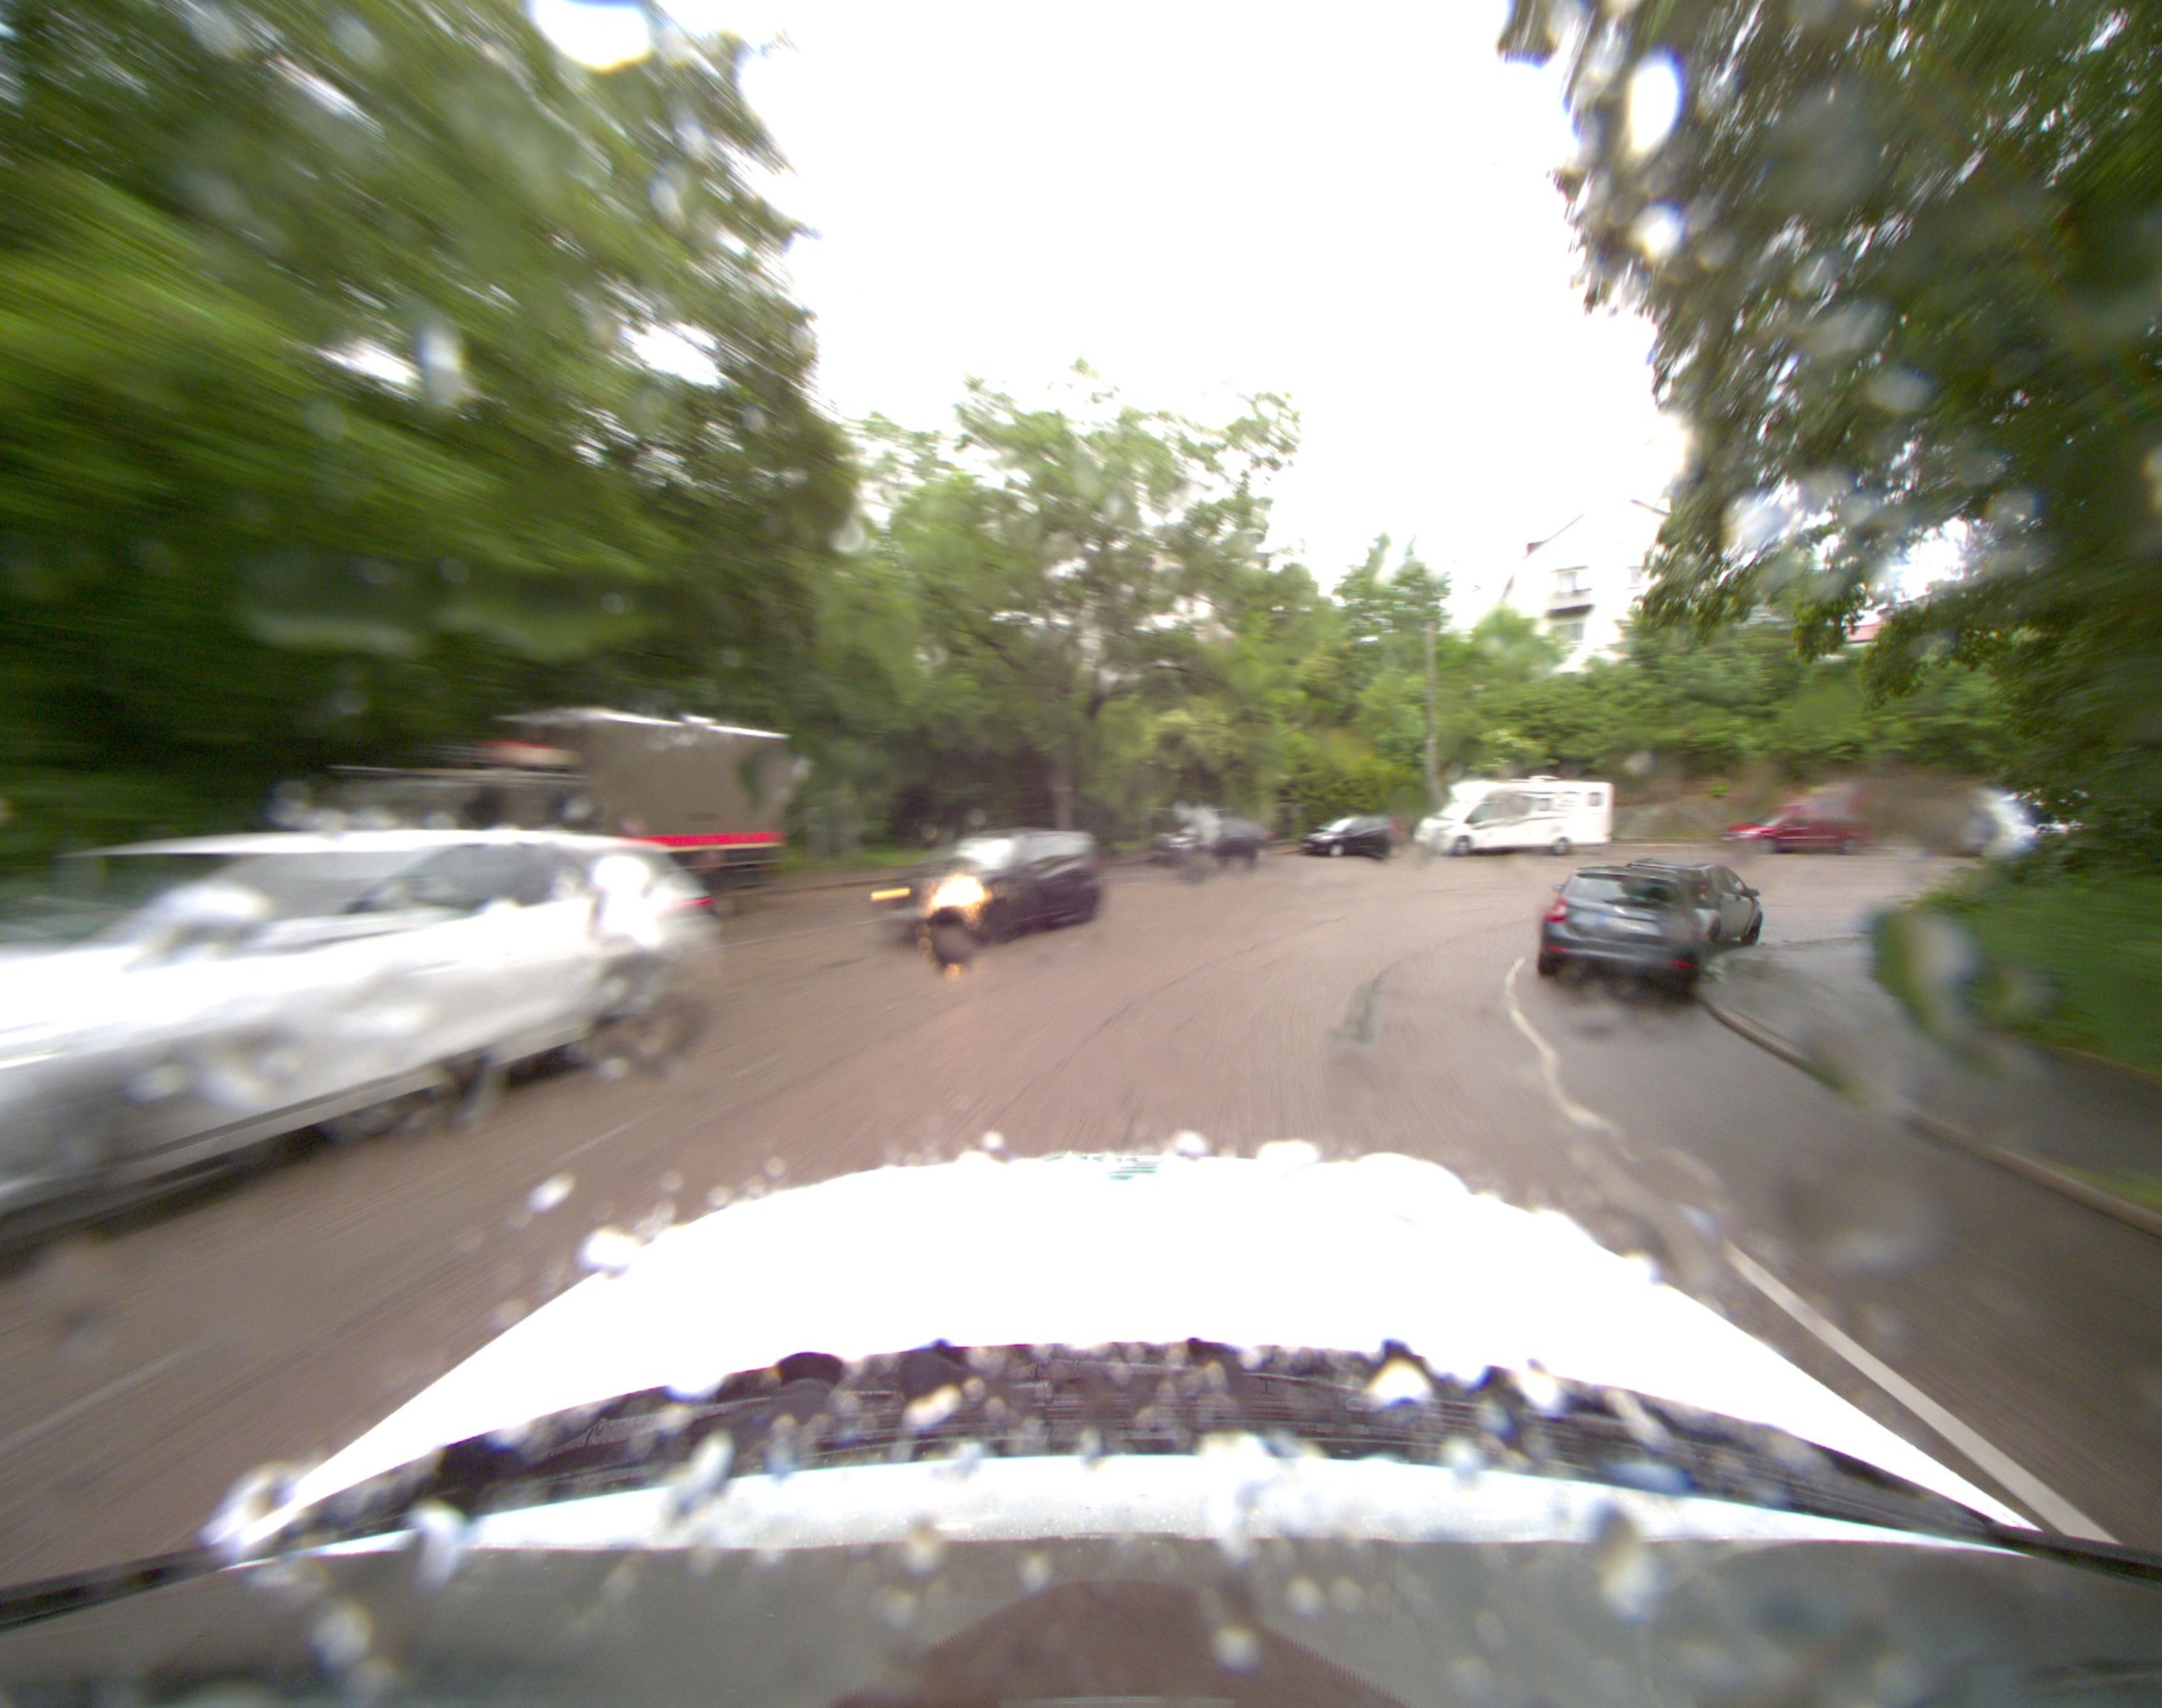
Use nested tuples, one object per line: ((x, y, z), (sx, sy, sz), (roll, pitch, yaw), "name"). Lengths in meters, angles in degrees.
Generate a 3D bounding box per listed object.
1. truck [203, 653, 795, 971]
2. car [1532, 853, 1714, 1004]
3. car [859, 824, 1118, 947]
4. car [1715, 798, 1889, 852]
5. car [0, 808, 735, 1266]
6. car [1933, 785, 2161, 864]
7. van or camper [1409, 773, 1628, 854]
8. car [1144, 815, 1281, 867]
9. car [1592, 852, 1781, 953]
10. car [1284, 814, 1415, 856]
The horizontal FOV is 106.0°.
((-7.175, -0.538, 11.420), (2.016, 3.102, 6.650), (2, 2, 22), "truck")
((7.355, 0.808, 10.916), (1.634, 1.464, 4.059), (5, 4, 37), "car")
((-1.202, 0.312, 12.392), (1.743, 1.518, 4.112), (2, 3, 31), "car")
((28.320, -1.177, 32.132), (4.882, 1.887, 1.799), (1, 6, 7), "car")
((-4.196, 0.578, 4.612), (1.786, 1.569, 4.472), (0, 2, 13), "car")
((36.422, -1.132, 29.595), (7.035, 2.535, 2.344), (3, 8, 22), "car")
((16.800, -1.648, 31.387), (7.637, 2.930, 2.195), (-1, 6, -10), "van or camper")
((4.292, -0.484, 26.341), (4.331, 1.464, 1.766), (-2, 6, -34), "car")
((10.949, 0.763, 14.660), (3.746, 1.407, 1.672), (-1, 5, -37), "car")
((9.716, -0.720, 29.481), (4.313, 1.355, 1.749), (0, 6, -20), "car")
